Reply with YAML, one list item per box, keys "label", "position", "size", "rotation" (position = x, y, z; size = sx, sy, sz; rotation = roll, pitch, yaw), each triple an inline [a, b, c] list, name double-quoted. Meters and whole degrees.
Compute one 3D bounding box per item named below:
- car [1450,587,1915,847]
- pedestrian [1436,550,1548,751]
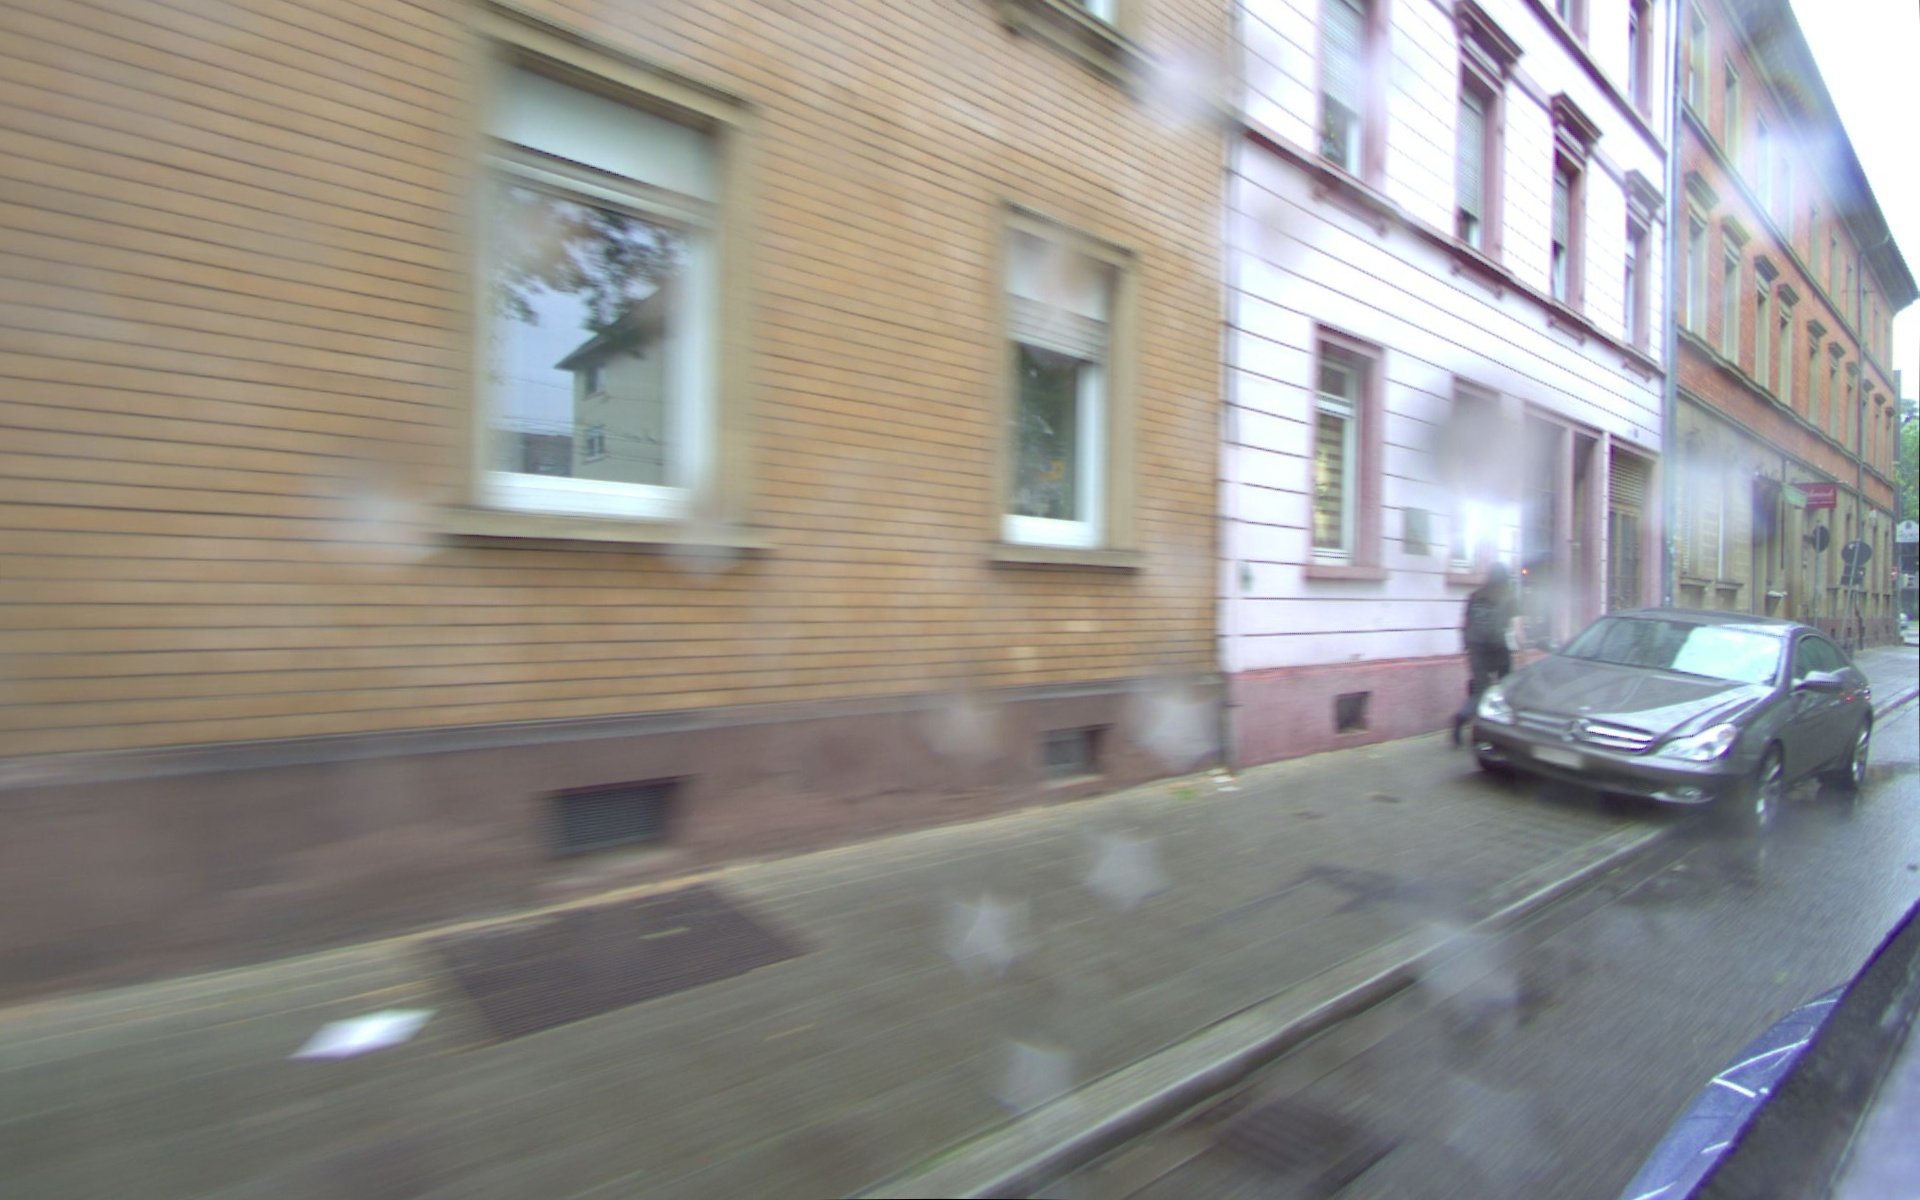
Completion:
- label: "car"
  position: [5.989, 0.691, 8.159]
  size: [4.612, 1.438, 1.819]
  rotation: [0, 4, -39]
- label: "pedestrian"
  position: [4.755, 0.422, 9.056]
  size: [0.593, 1.705, 0.640]
  rotation: [1, 3, -42]
